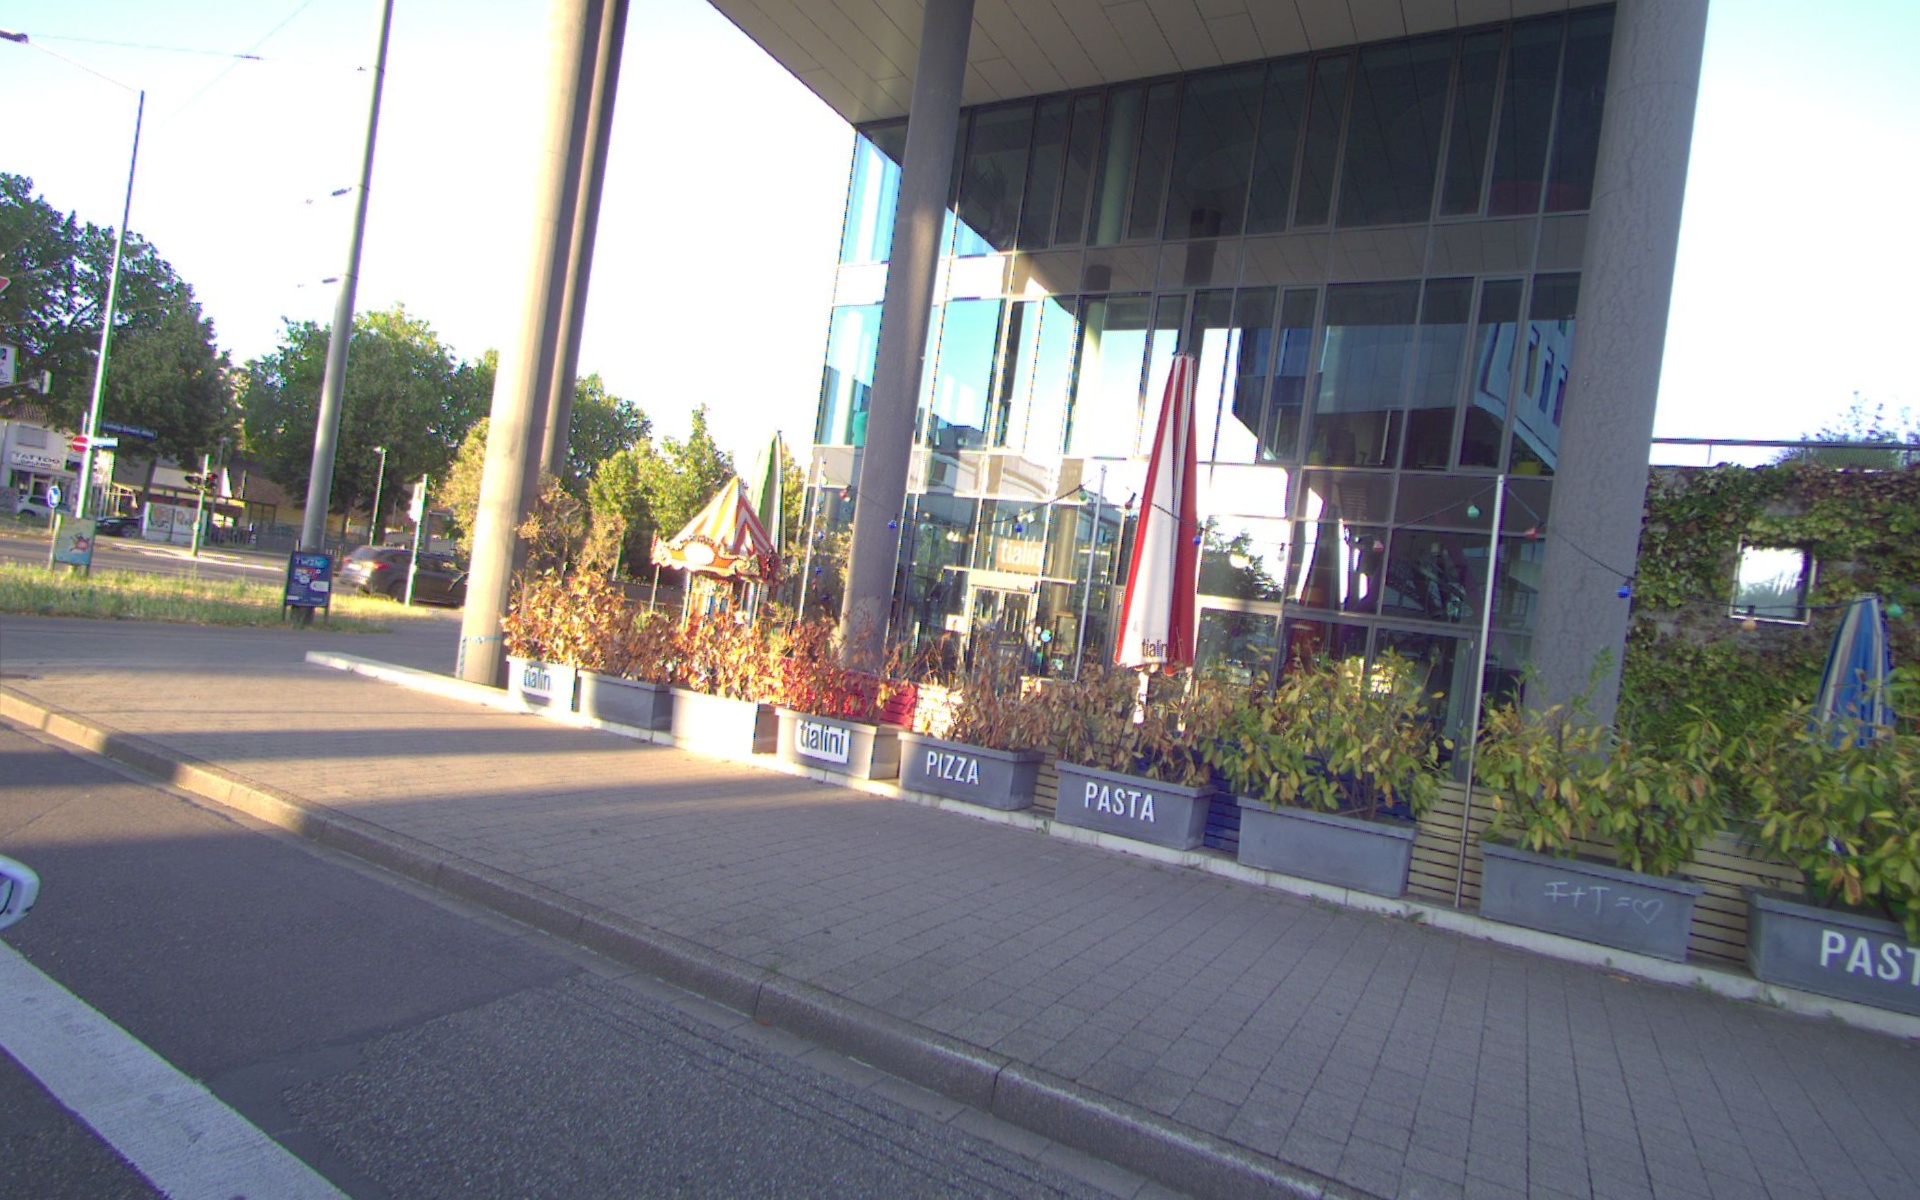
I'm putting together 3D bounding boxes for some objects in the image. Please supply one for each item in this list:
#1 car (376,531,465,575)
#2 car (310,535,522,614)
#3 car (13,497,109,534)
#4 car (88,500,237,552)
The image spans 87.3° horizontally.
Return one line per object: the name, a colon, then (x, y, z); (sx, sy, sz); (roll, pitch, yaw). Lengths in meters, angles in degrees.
car: (-42.604, -3.672, 79.552); (2.197, 2.581, 5.594); (7, -2, 39)
car: (-15.761, -0.687, 29.440); (1.956, 1.528, 5.015); (7, -2, 33)
car: (-50.163, -4.705, 56.162); (1.641, 1.456, 3.736); (6, -2, 41)
car: (-37.877, -3.499, 47.927); (1.967, 1.570, 5.110); (6, -2, 31)
